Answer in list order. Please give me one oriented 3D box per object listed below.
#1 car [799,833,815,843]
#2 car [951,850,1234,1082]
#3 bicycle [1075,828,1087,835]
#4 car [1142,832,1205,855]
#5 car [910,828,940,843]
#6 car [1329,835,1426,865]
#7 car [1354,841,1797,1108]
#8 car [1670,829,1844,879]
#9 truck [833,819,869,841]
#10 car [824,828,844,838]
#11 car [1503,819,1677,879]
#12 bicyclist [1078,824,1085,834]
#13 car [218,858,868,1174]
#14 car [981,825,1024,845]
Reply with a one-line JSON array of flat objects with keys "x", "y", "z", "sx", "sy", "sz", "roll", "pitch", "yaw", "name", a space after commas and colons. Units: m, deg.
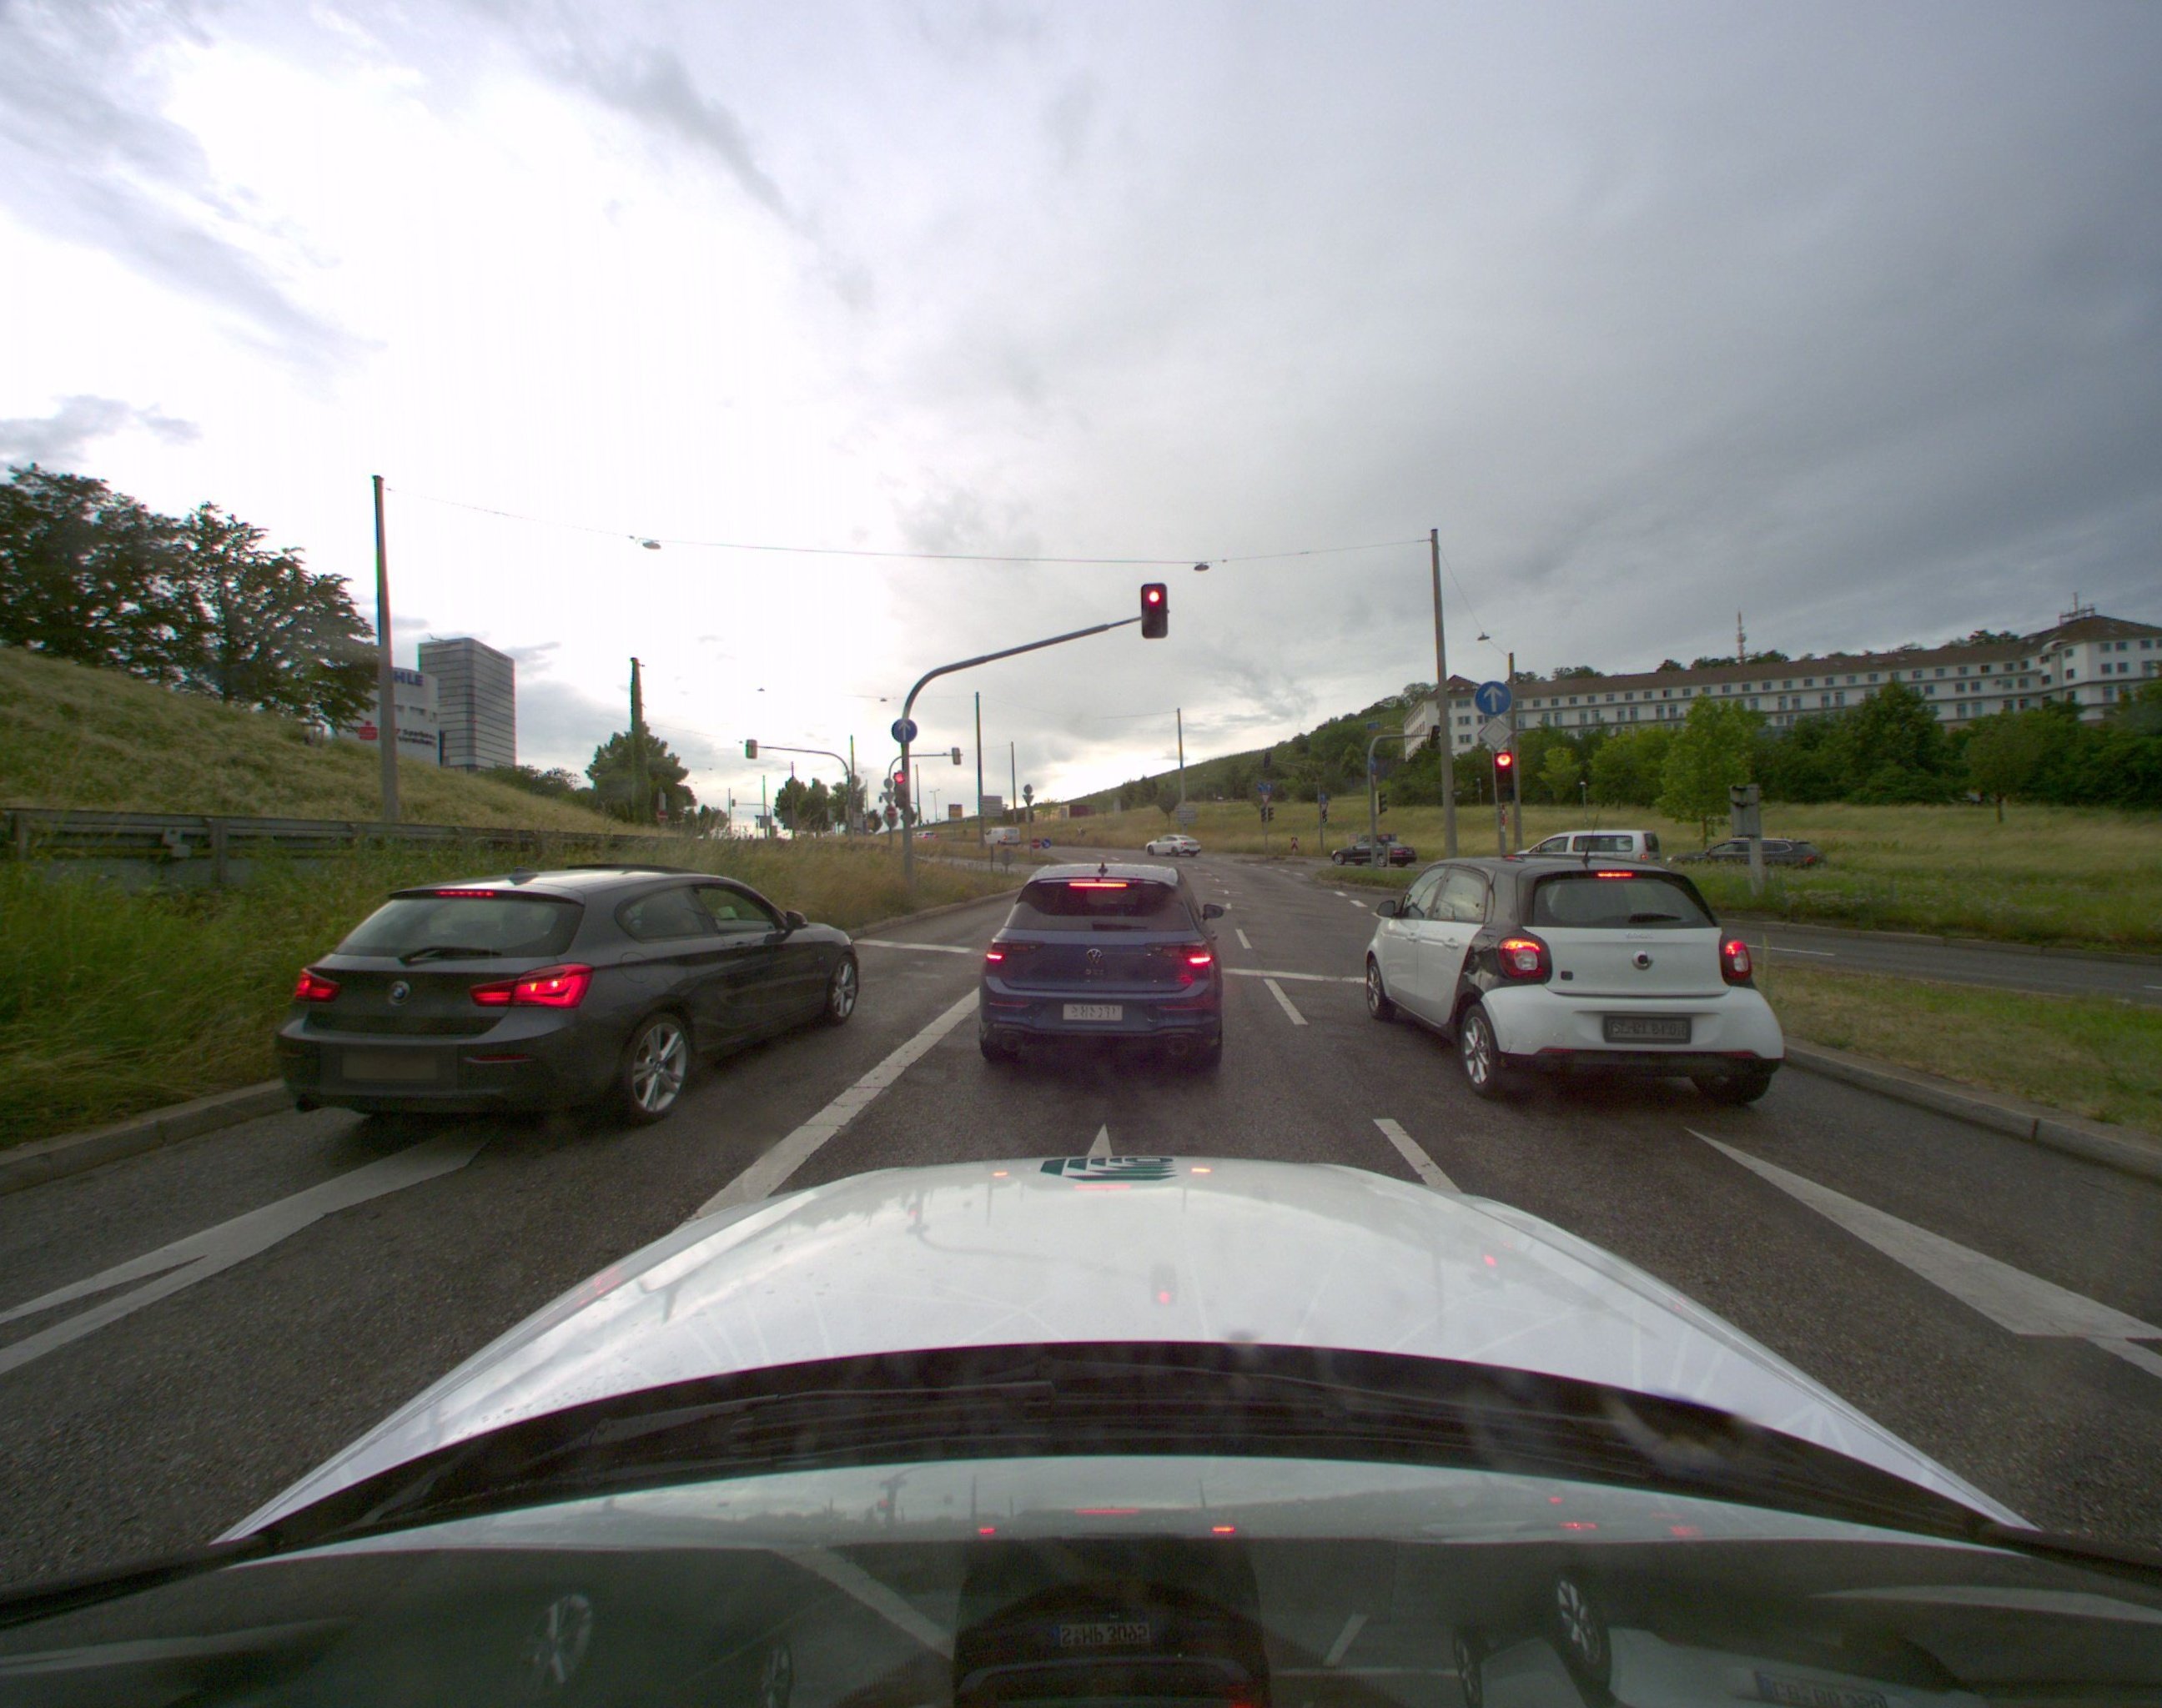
[{"x": -52.236, "y": -3.069, "z": 155.203, "sx": 2.006, "sy": 1.659, "sz": 4.500, "roll": 0, "pitch": -1, "yaw": -31, "name": "car"}, {"x": 0.259, "y": 0.712, "z": 7.156, "sx": 1.816, "sy": 1.460, "sz": 3.814, "roll": -1, "pitch": 0, "yaw": 6, "name": "car"}, {"x": 0.018, "y": -2.473, "z": 89.684, "sx": 0.522, "sy": 0.775, "sz": 1.604, "roll": 2, "pitch": 0, "yaw": -35, "name": "bicycle"}, {"x": 6.406, "y": -0.684, "z": 56.789, "sx": 2.008, "sy": 1.477, "sz": 4.373, "roll": 0, "pitch": -1, "yaw": -35, "name": "car"}, {"x": -18.649, "y": -2.166, "z": 97.048, "sx": 2.008, "sy": 1.659, "sz": 4.497, "roll": 0, "pitch": -1, "yaw": -33, "name": "car"}, {"x": 15.432, "y": -0.164, "z": 42.604, "sx": 2.008, "sy": 1.477, "sz": 4.456, "roll": 0, "pitch": -1, "yaw": -33, "name": "car"}, {"x": 3.393, "y": 0.709, "z": 6.396, "sx": 1.649, "sy": 1.503, "sz": 3.456, "roll": -1, "pitch": -1, "yaw": 6, "name": "car"}, {"x": 23.936, "y": 0.043, "z": 28.999, "sx": 2.008, "sy": 1.637, "sz": 4.373, "roll": 0, "pitch": -1, "yaw": -35, "name": "car"}, {"x": -34.273, "y": -3.512, "z": 121.133, "sx": 3.281, "sy": 3.074, "sz": 6.111, "roll": 2, "pitch": 0, "yaw": -35, "name": "truck"}, {"x": -41.661, "y": -3.526, "z": 137.074, "sx": 2.007, "sy": 1.659, "sz": 4.498, "roll": 1, "pitch": 0, "yaw": -33, "name": "car"}, {"x": 17.130, "y": -0.112, "z": 27.625, "sx": 1.831, "sy": 1.850, "sz": 4.644, "roll": 0, "pitch": -1, "yaw": -39, "name": "car"}, {"x": 0.073, "y": -2.746, "z": 89.609, "sx": 0.527, "sy": 1.046, "sz": 0.574, "roll": 2, "pitch": 0, "yaw": -34, "name": "bicyclist"}, {"x": -3.100, "y": 0.787, "z": 5.891, "sx": 1.694, "sy": 1.460, "sz": 4.120, "roll": -1, "pitch": -1, "yaw": 5, "name": "car"}, {"x": -7.620, "y": -1.789, "z": 78.645, "sx": 2.144, "sy": 1.794, "sz": 4.692, "roll": 0, "pitch": -1, "yaw": -33, "name": "car"}]
